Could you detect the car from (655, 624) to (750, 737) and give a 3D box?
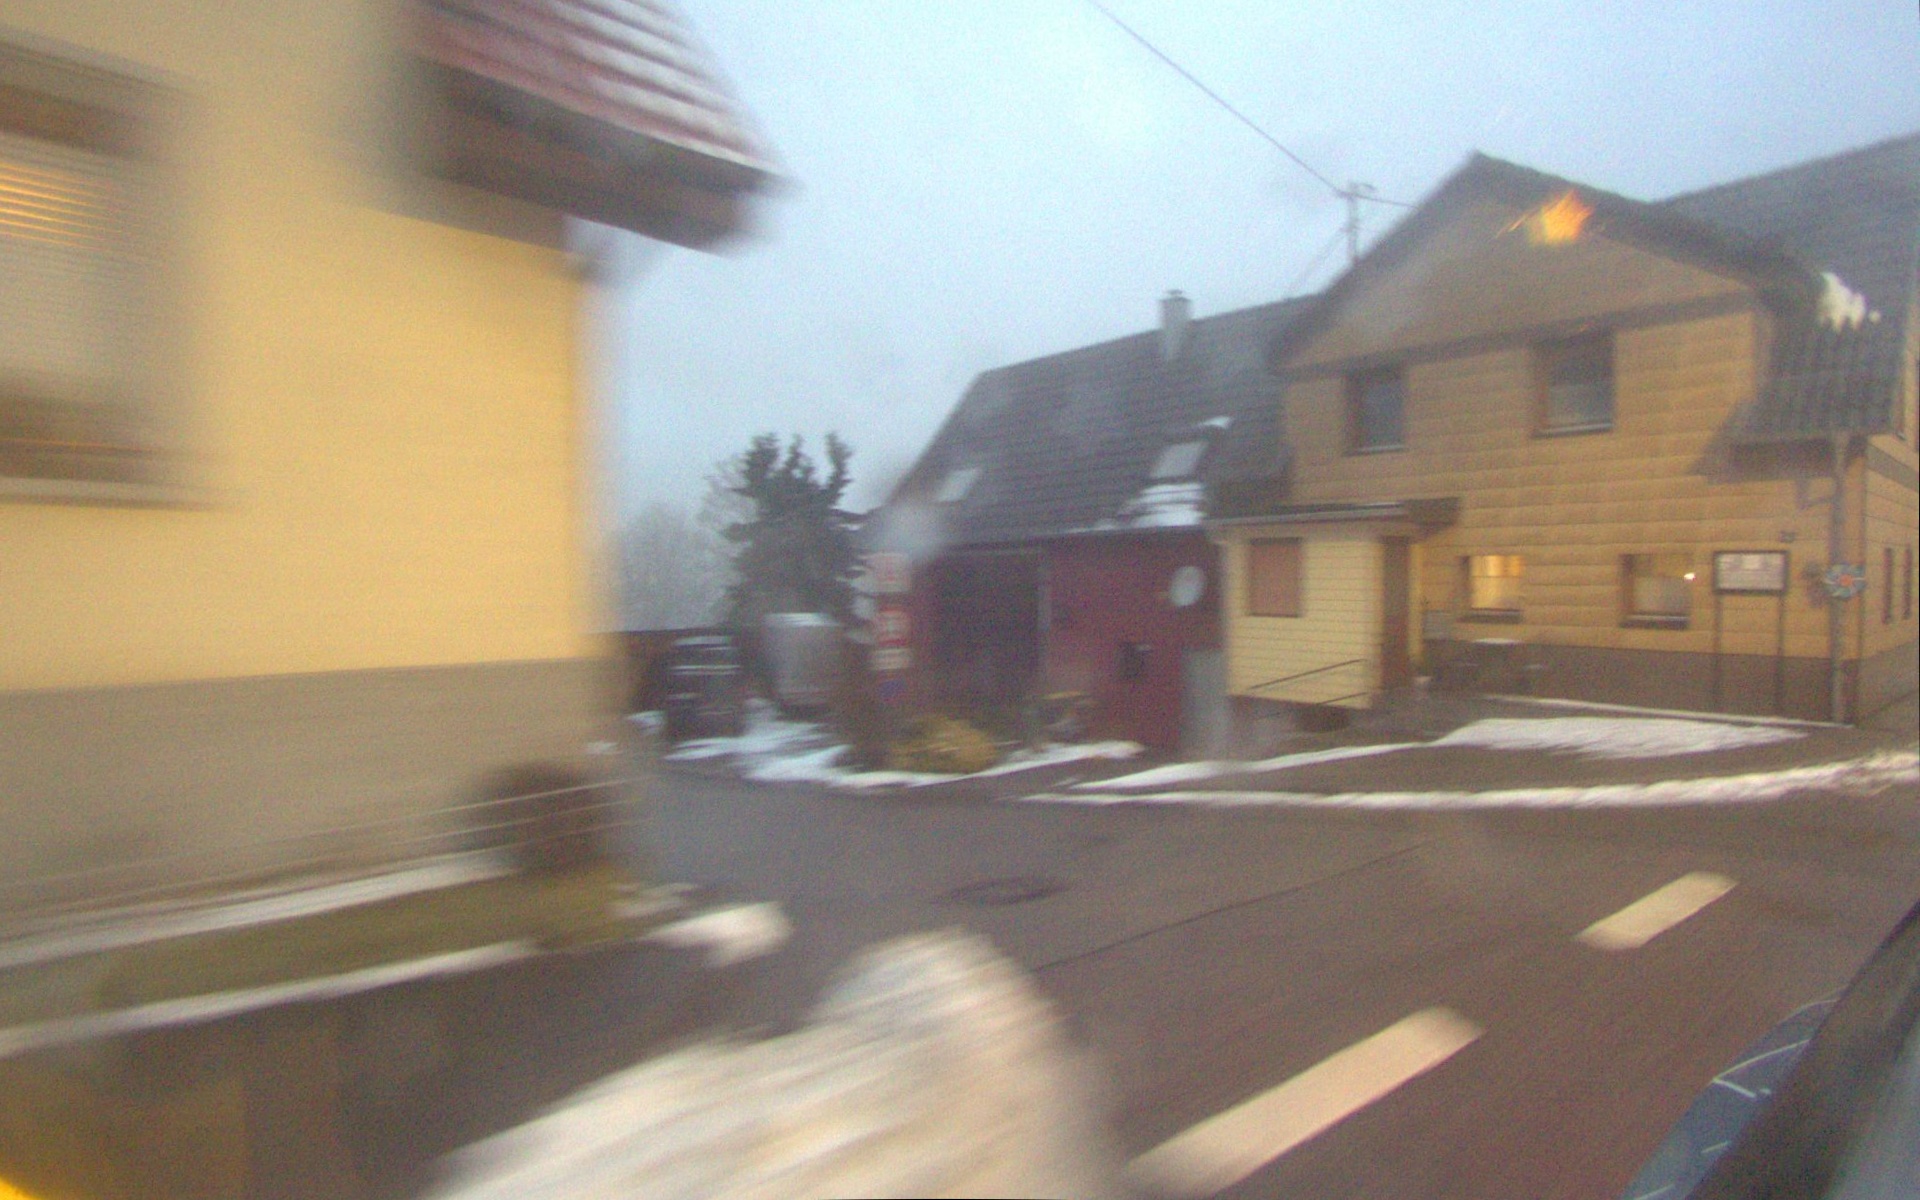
[{"bbox_3d":[-5.736,1.708,22.937,1.669,2.030,4.008,-2,2,-9],"label":"car"}]
